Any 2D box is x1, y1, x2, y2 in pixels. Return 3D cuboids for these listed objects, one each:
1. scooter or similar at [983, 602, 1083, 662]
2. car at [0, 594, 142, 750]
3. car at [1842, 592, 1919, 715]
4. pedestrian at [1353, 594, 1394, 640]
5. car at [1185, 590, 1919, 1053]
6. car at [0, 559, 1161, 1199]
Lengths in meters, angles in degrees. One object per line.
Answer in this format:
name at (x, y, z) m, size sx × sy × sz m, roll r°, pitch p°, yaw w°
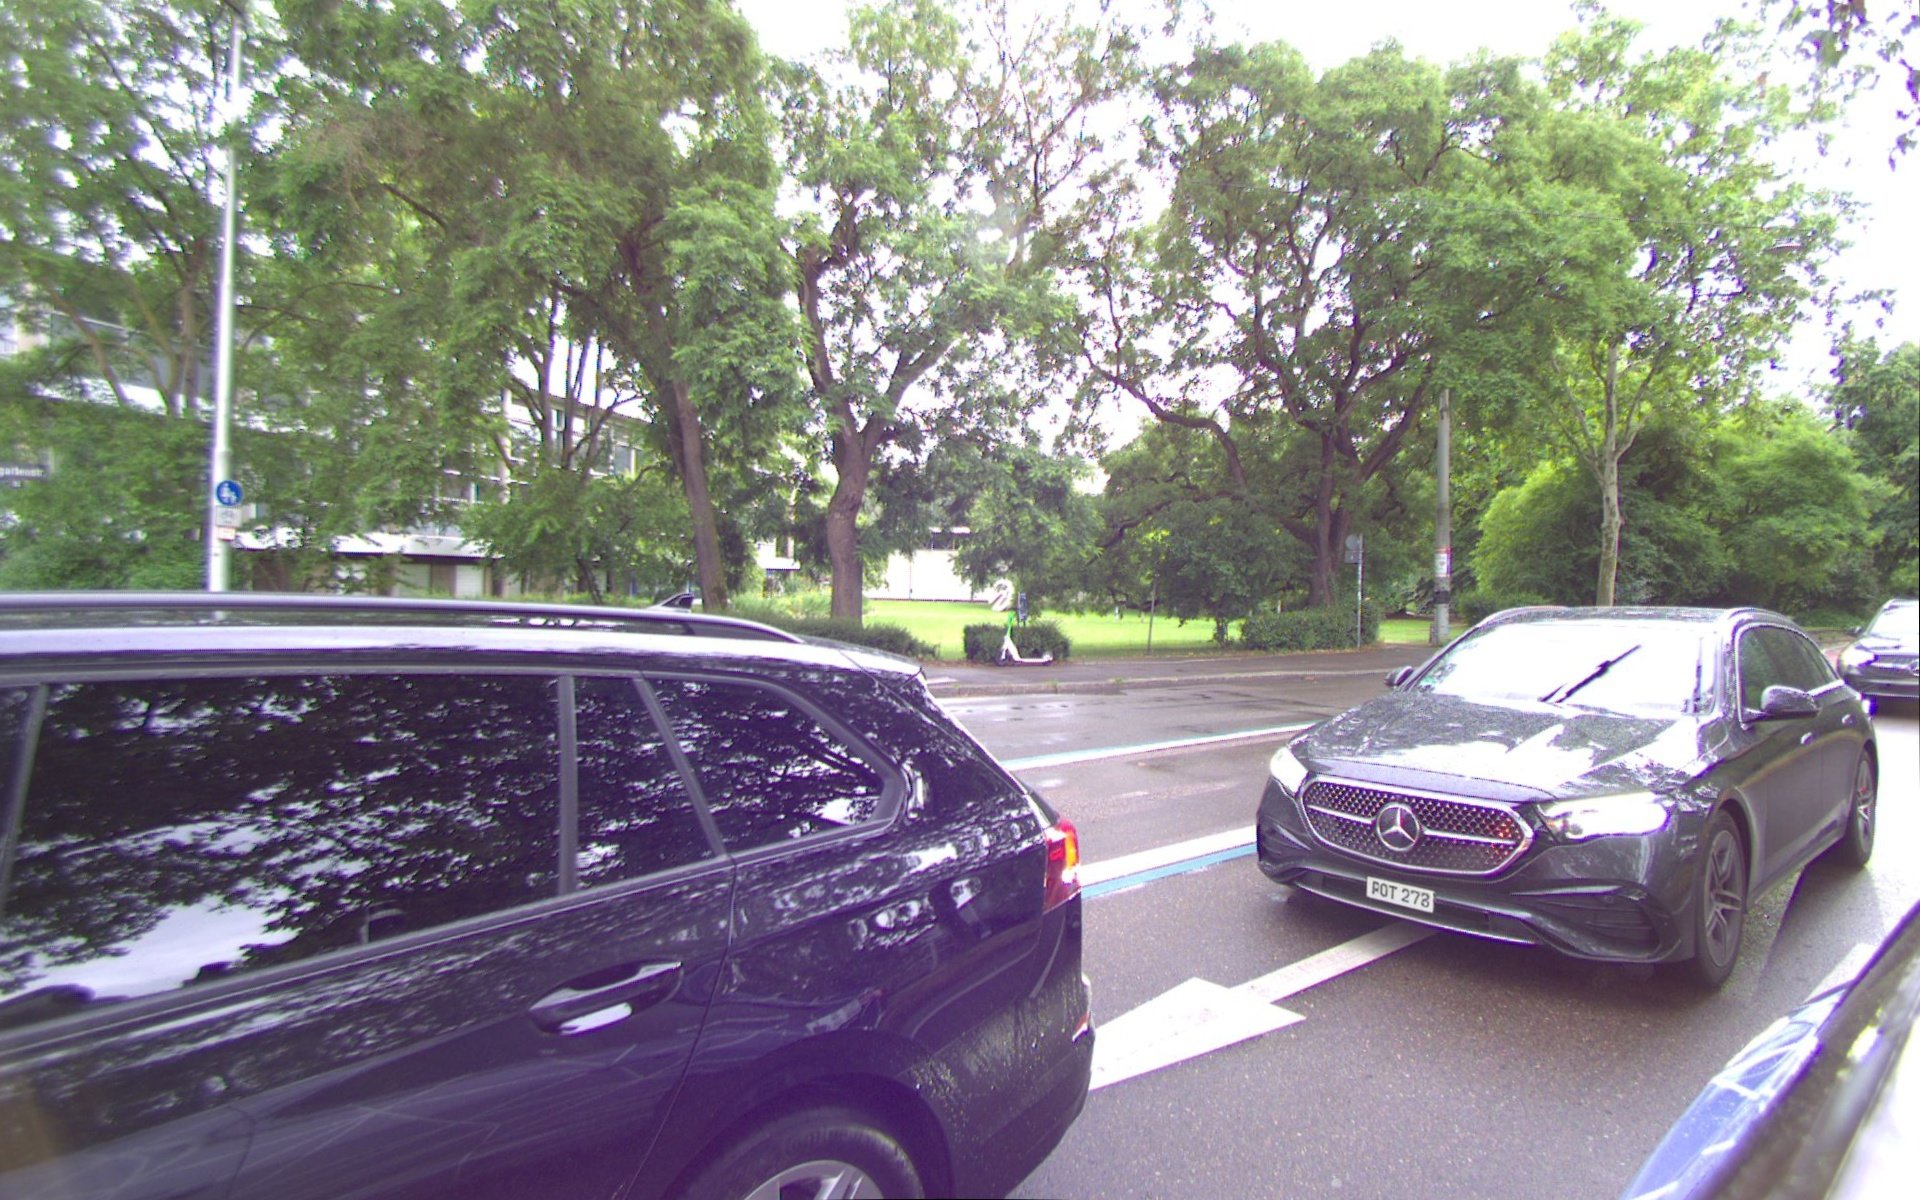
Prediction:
scooter or similar at (1.439, 0.640, 19.975) m, size 1.851 × 1.114 × 0.559 m, roll 2°, pitch 2°, yaw -19°
car at (-11.054, 0.671, 9.934) m, size 4.311 × 1.468 × 1.872 m, roll 0°, pitch 0°, yaw -19°
car at (14.625, 0.704, 14.769) m, size 4.493 × 1.628 × 1.833 m, roll 0°, pitch 0°, yaw -38°
pedestrian at (15.195, 0.606, 37.194) m, size 1.038 × 1.626 × 1.071 m, roll -1°, pitch 0°, yaw 1°
car at (3.509, 0.709, 5.476) m, size 4.841 × 1.464 × 1.883 m, roll 0°, pitch -1°, yaw -39°
car at (-1.759, 0.685, 1.414) m, size 4.434 × 1.484 × 1.672 m, roll 1°, pitch 0°, yaw -42°
